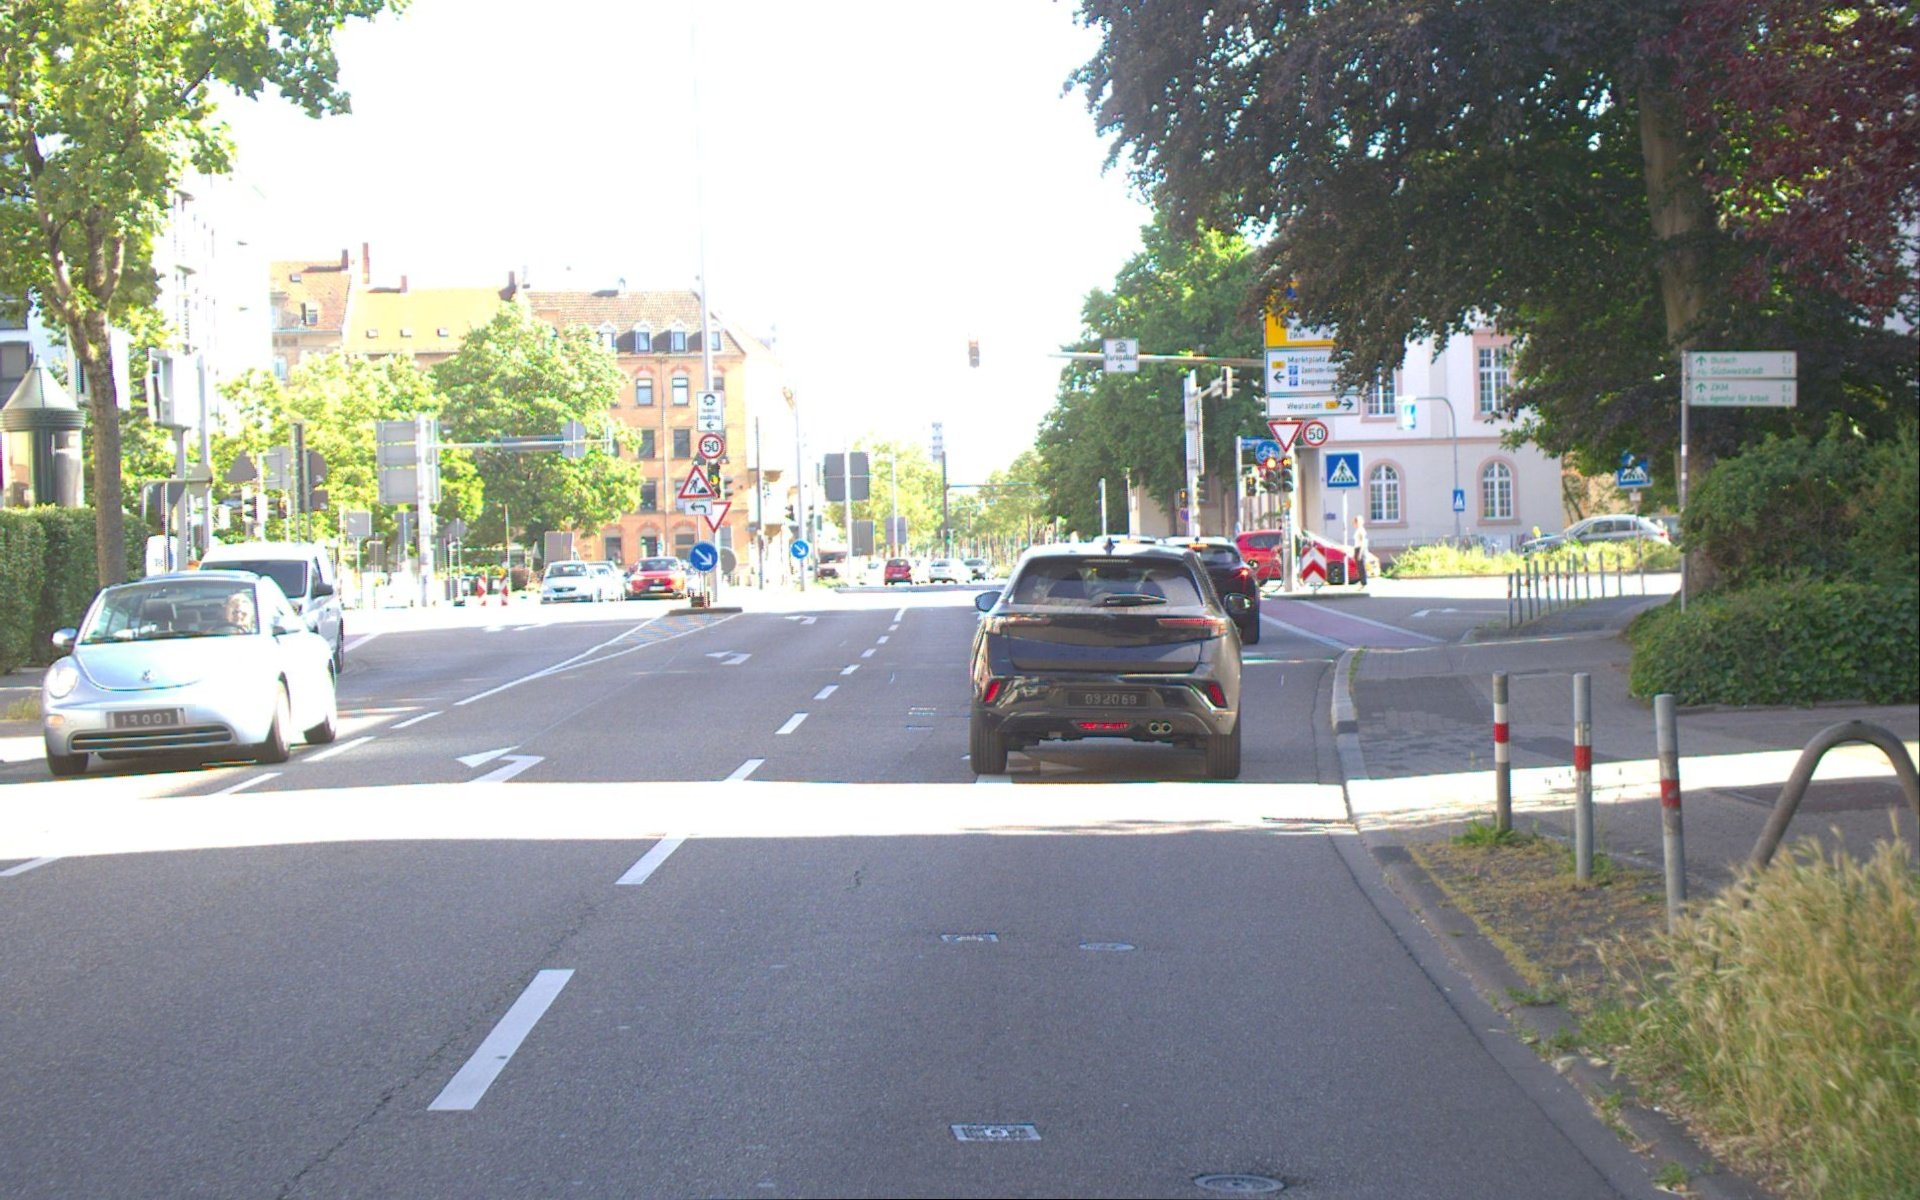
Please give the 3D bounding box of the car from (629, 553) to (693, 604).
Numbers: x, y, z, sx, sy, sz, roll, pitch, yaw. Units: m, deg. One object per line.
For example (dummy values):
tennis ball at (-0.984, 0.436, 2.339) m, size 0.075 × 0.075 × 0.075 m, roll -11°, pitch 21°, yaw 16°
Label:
car at (-10.025, -0.723, 115.365) m, size 1.791 × 1.611 × 4.000 m, roll -2°, pitch 1°, yaw -1°

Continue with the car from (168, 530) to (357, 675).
car at (-9.375, -0.007, 46.554) m, size 1.818 × 1.827 × 4.563 m, roll -1°, pitch 1°, yaw -3°

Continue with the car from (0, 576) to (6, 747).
car at (-8.664, 0.574, 26.381) m, size 1.767 × 1.403 × 4.367 m, roll -1°, pitch 1°, yaw -5°

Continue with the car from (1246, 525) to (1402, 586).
car at (9.409, -1.154, 88.691) m, size 3.874 × 1.447 × 1.777 m, roll -1°, pitch 1°, yaw 10°

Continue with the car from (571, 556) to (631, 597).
car at (-13.622, -0.905, 130.690) m, size 1.874 × 1.443 × 4.000 m, roll -2°, pitch 1°, yaw -1°

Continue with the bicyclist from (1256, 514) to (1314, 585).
bicyclist at (7.584, -1.184, 80.239) m, size 1.164 × 1.628 × 0.729 m, roll -1°, pitch 1°, yaw -16°

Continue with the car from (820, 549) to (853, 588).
car at (-7.135, -1.842, 198.989) m, size 1.810 × 2.127 × 4.000 m, roll -2°, pitch 1°, yaw -1°

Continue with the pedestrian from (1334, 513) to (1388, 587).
pedestrian at (9.173, -1.144, 78.640) m, size 1.040 × 1.654 × 0.784 m, roll -2°, pitch 1°, yaw -4°

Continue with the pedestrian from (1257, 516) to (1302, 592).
pedestrian at (7.227, -1.039, 77.819) m, size 0.825 × 1.696 × 0.918 m, roll -1°, pitch 1°, yaw -6°

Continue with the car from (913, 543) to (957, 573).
car at (-1.469, -2.481, 200.927) m, size 2.175 × 1.692 × 4.001 m, roll -2°, pitch 1°, yaw -5°

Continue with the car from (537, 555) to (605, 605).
car at (-13.238, -0.696, 117.175) m, size 1.874 × 1.611 × 4.000 m, roll -2°, pitch 1°, yaw -1°

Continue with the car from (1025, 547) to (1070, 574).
car at (5.606, -2.528, 219.556) m, size 1.862 × 1.654 × 3.997 m, roll 1°, pitch 1°, yaw 16°

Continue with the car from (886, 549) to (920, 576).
car at (-3.110, -2.057, 187.161) m, size 1.810 × 1.402 × 4.000 m, roll -2°, pitch 1°, yaw -1°

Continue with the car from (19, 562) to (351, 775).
car at (-5.870, 0.465, 26.467) m, size 1.737 × 1.377 × 3.937 m, roll -3°, pitch 2°, yaw -2°

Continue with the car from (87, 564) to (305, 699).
car at (-9.033, 0.340, 40.962) m, size 1.671 × 1.451 × 4.111 m, roll -1°, pitch 1°, yaw 0°

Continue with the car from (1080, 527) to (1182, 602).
car at (3.501, -0.754, 70.964) m, size 1.830 × 1.447 × 3.988 m, roll -2°, pitch 1°, yaw -1°

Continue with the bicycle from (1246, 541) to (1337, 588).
bicycle at (7.740, -0.839, 80.300) m, size 2.031 × 1.057 × 0.622 m, roll -1°, pitch 1°, yaw -17°

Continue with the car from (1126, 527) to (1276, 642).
car at (3.483, -0.259, 50.288) m, size 1.830 × 1.573 × 3.840 m, roll -2°, pitch 1°, yaw -1°

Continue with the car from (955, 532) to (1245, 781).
car at (0.884, 0.331, 23.499) m, size 1.745 × 1.568 × 3.558 m, roll 0°, pitch 1°, yaw -1°
